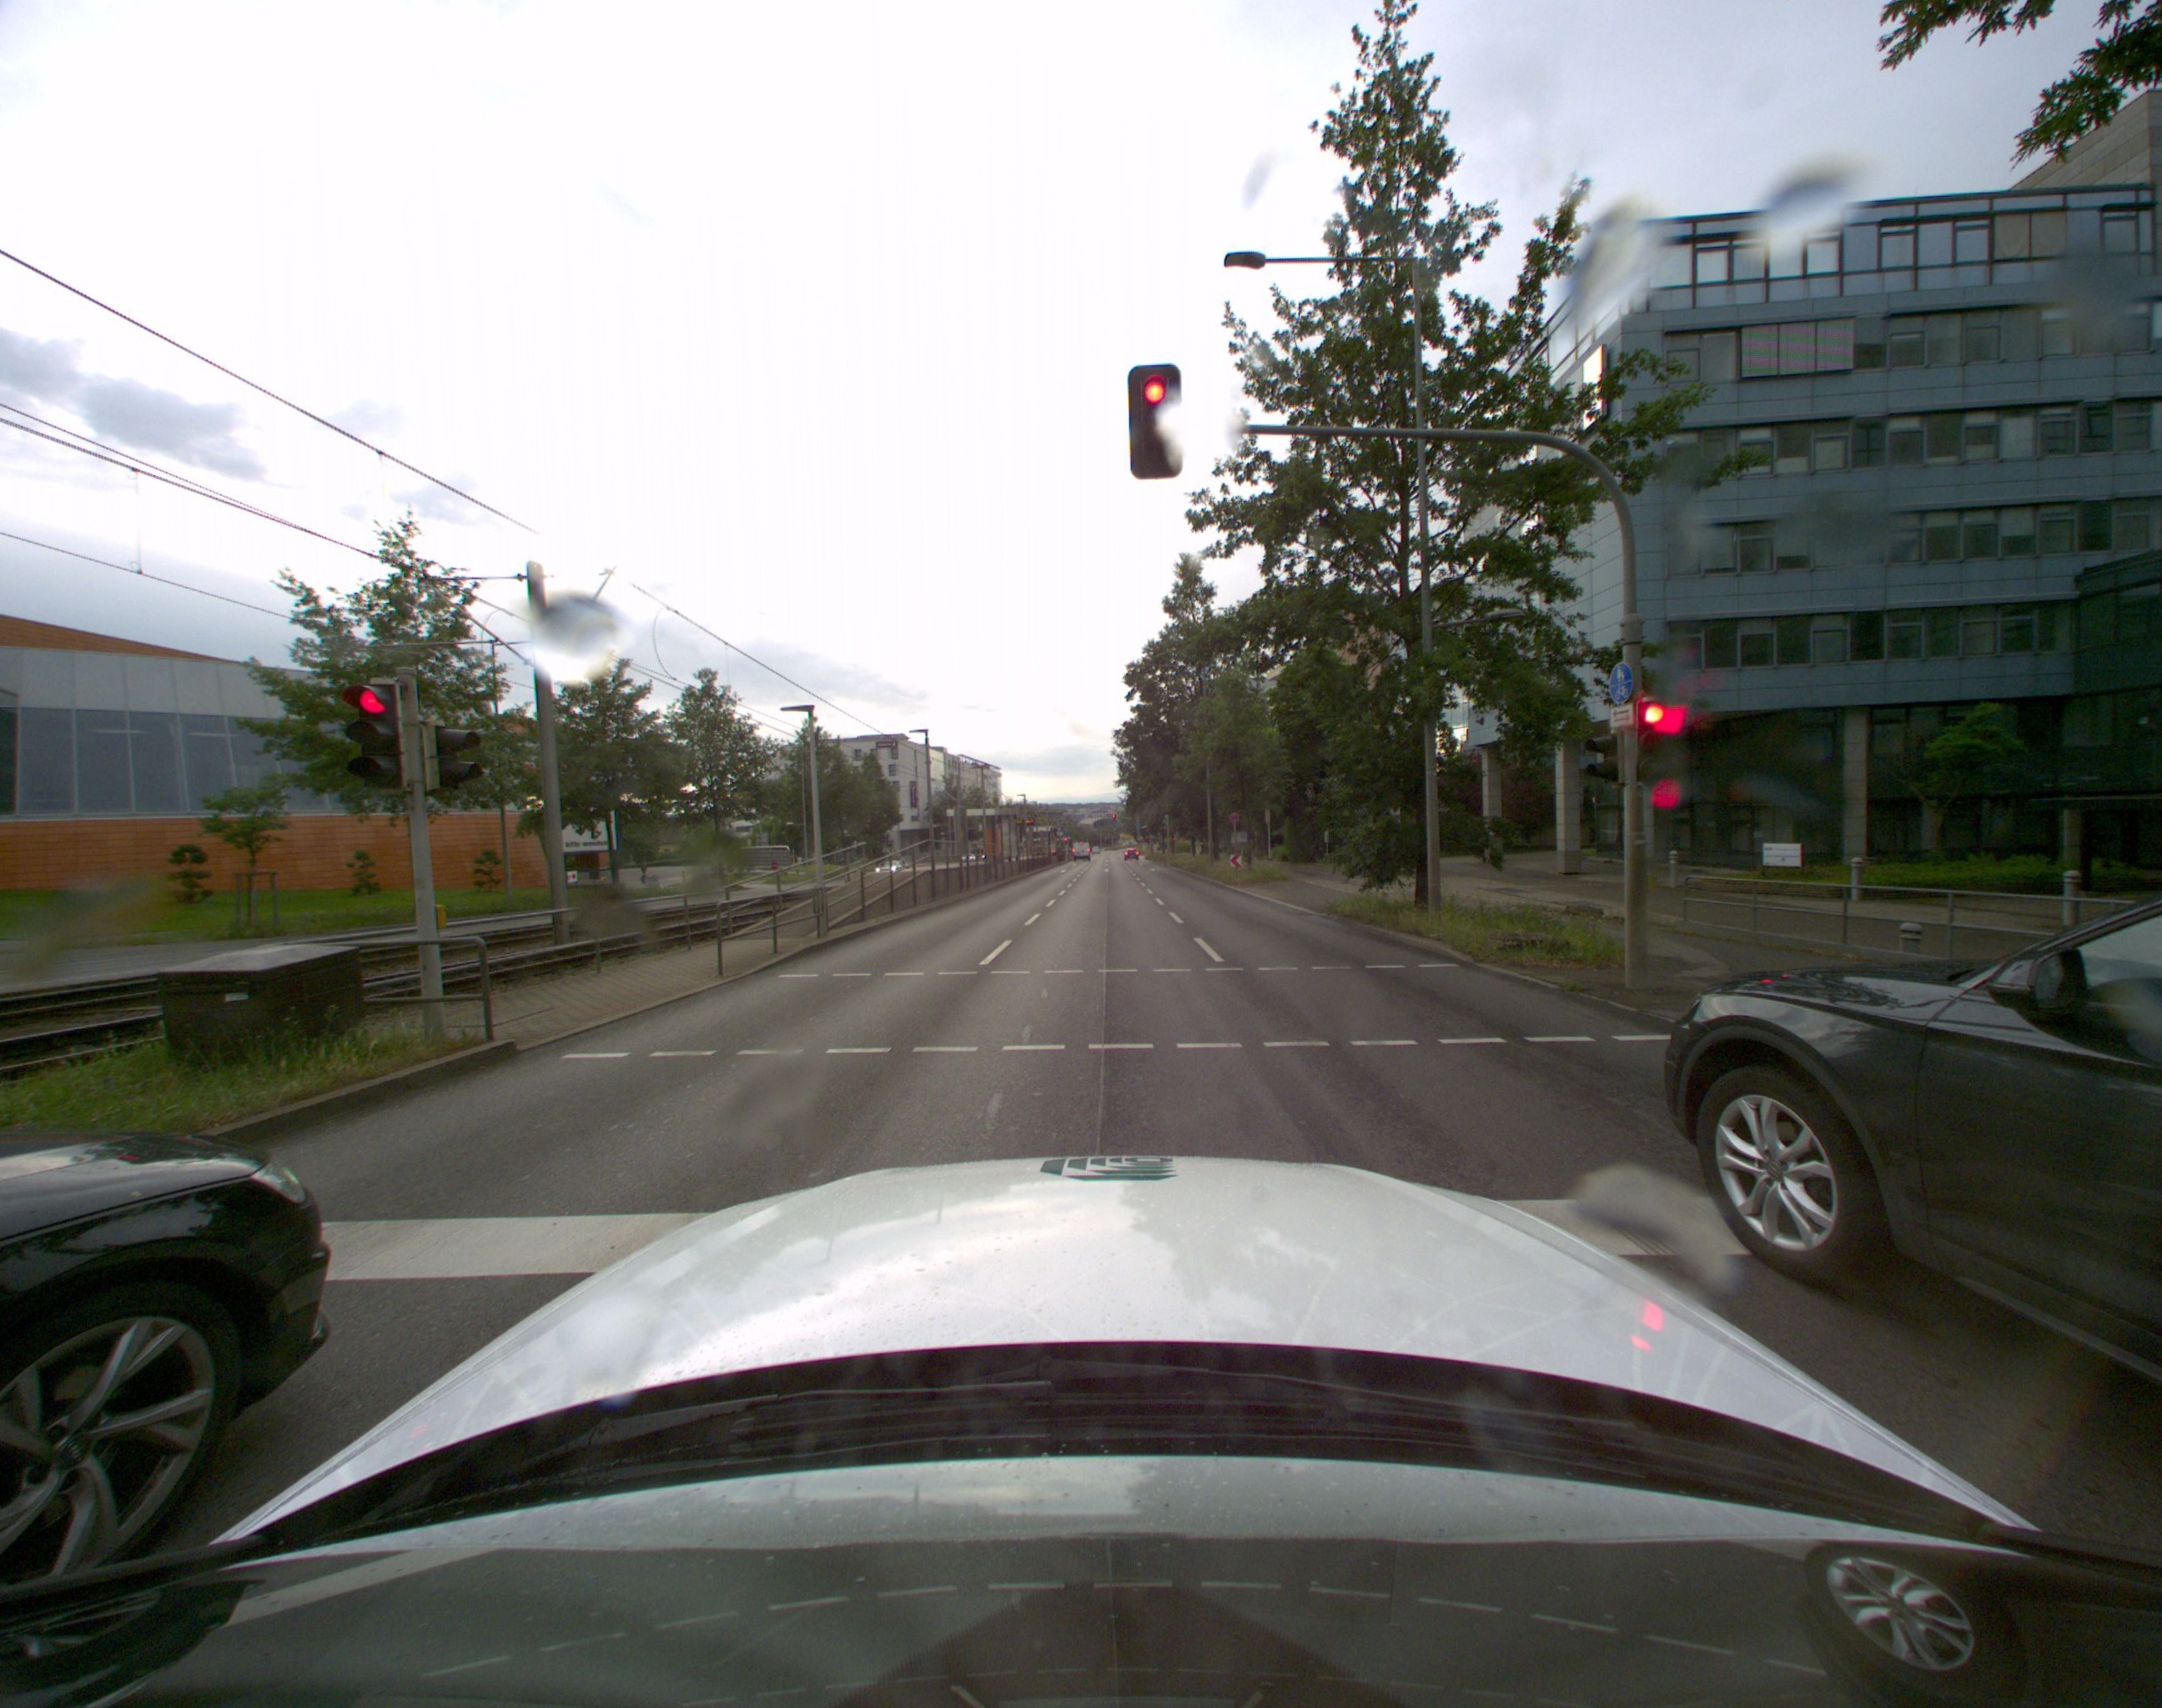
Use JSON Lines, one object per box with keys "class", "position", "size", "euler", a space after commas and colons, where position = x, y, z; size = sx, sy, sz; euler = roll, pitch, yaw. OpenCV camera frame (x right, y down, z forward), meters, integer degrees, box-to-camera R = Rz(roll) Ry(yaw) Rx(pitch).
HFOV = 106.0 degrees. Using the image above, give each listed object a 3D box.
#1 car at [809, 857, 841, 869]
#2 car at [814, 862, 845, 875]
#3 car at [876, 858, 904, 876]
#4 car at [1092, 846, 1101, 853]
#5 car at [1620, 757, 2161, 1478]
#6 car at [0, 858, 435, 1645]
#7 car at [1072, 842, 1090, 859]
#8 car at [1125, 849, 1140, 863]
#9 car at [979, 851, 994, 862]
{"class": "car", "position": [-30.005, 1.054, 95.459], "size": [3.343, 1.387, 1.439], "euler": [-1, 0, 15]}
{"class": "car", "position": [-30.054, 1.724, 97.255], "size": [3.341, 1.387, 1.440], "euler": [-1, 0, 18]}
{"class": "car", "position": [-17.530, 1.181, 74.904], "size": [1.646, 1.436, 3.878], "euler": [-4, 0, -1]}
{"class": "car", "position": [3.321, -0.918, 175.145], "size": [1.775, 1.390, 4.004], "euler": [-2, 0, 4]}
{"class": "car", "position": [3.300, 0.574, 1.441], "size": [1.811, 1.612, 4.472], "euler": [-1, 0, 2]}
{"class": "car", "position": [-2.962, 0.774, 0.268], "size": [1.774, 1.466, 4.515], "euler": [-1, 0, 2]}
{"class": "car", "position": [-0.019, -0.446, 102.700], "size": [2.085, 2.053, 4.608], "euler": [-1, 0, 2]}
{"class": "car", "position": [6.492, 0.212, 102.696], "size": [1.767, 1.691, 3.847], "euler": [-1, 0, 2]}
{"class": "car", "position": [-12.570, 0.330, 108.402], "size": [1.651, 1.436, 3.865], "euler": [-4, 0, -11]}
